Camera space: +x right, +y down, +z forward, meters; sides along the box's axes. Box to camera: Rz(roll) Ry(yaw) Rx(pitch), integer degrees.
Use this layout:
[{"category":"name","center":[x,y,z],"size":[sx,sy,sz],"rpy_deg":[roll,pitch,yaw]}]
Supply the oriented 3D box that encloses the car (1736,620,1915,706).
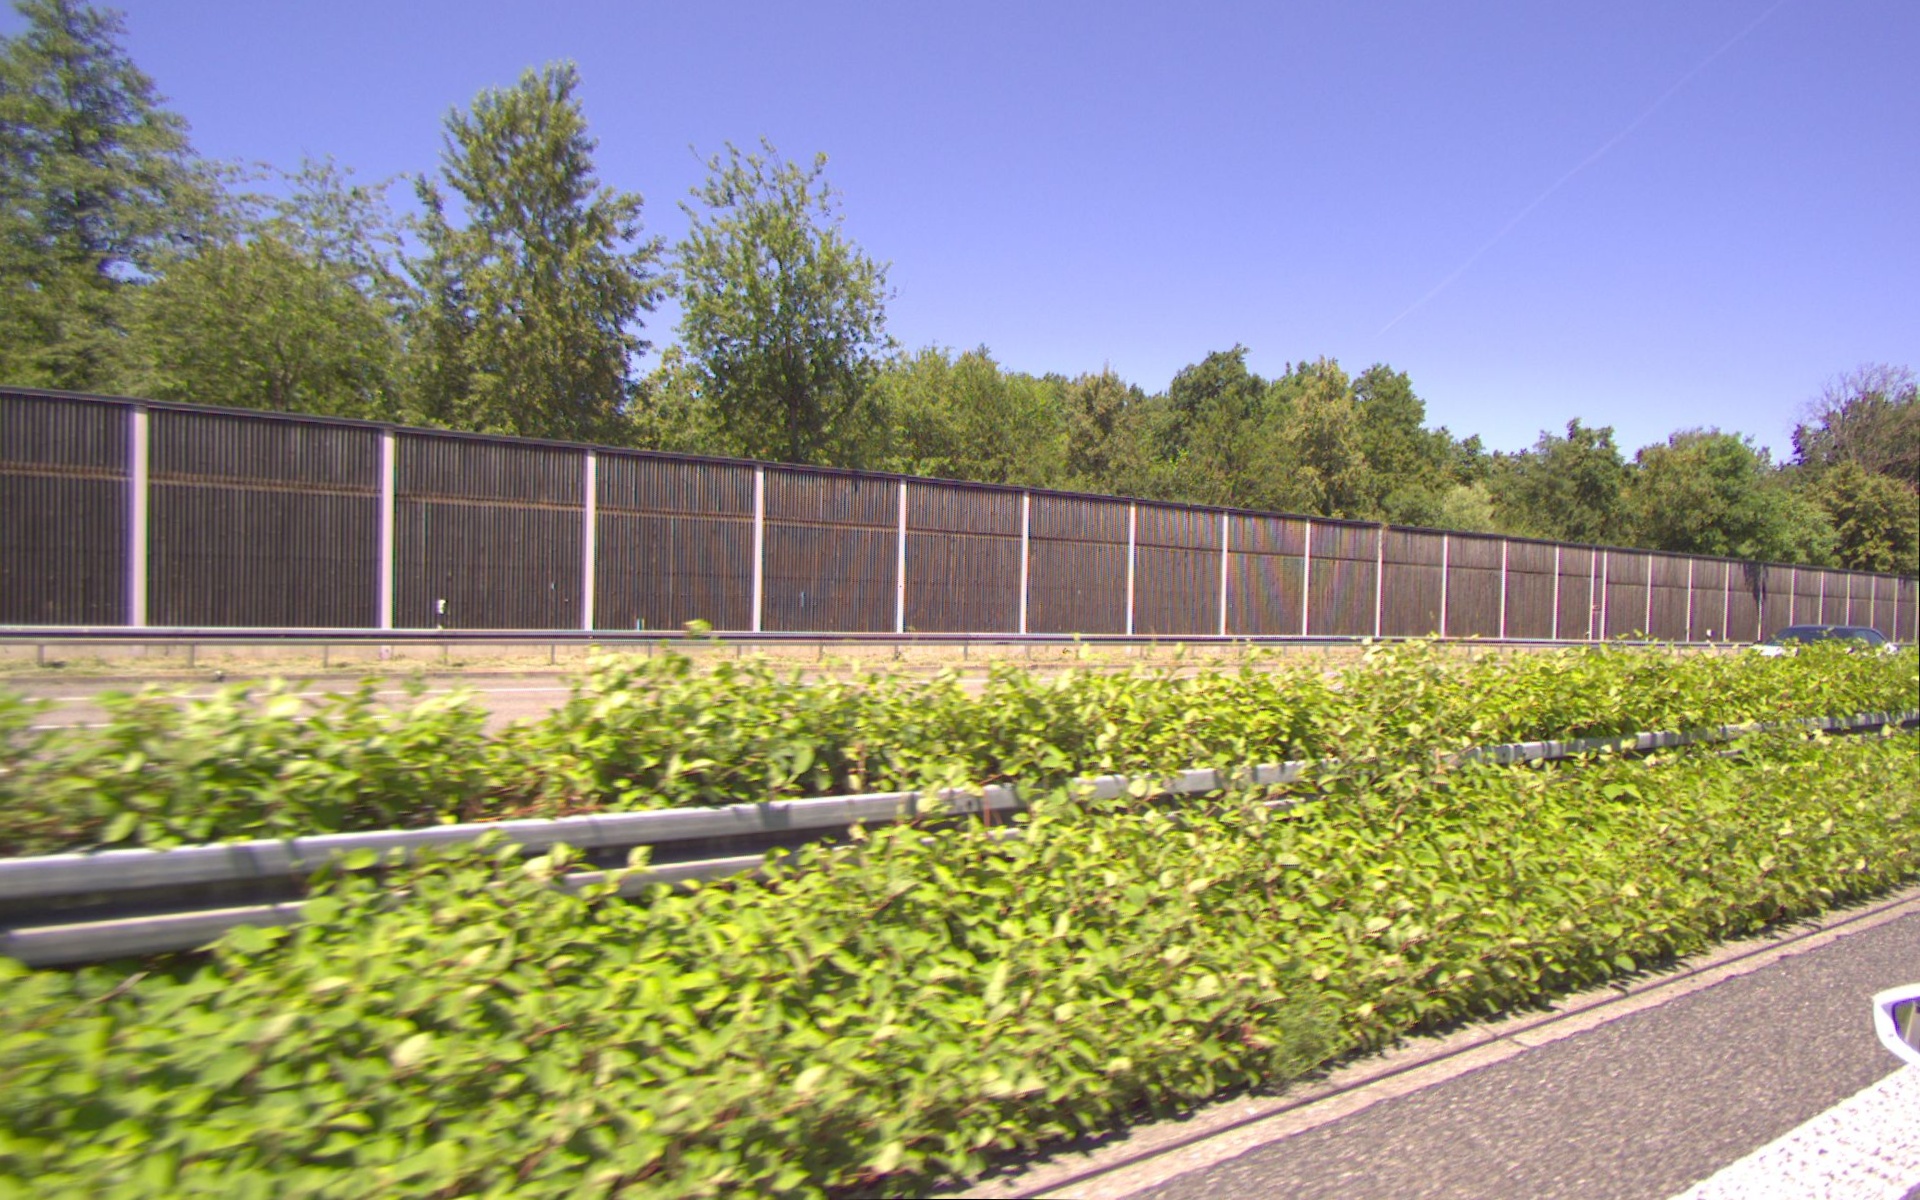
[{"category":"car","center":[17.887,1.259,20.734],"size":[3.952,1.610,1.576],"rpy_deg":[2,0,-30]}]
